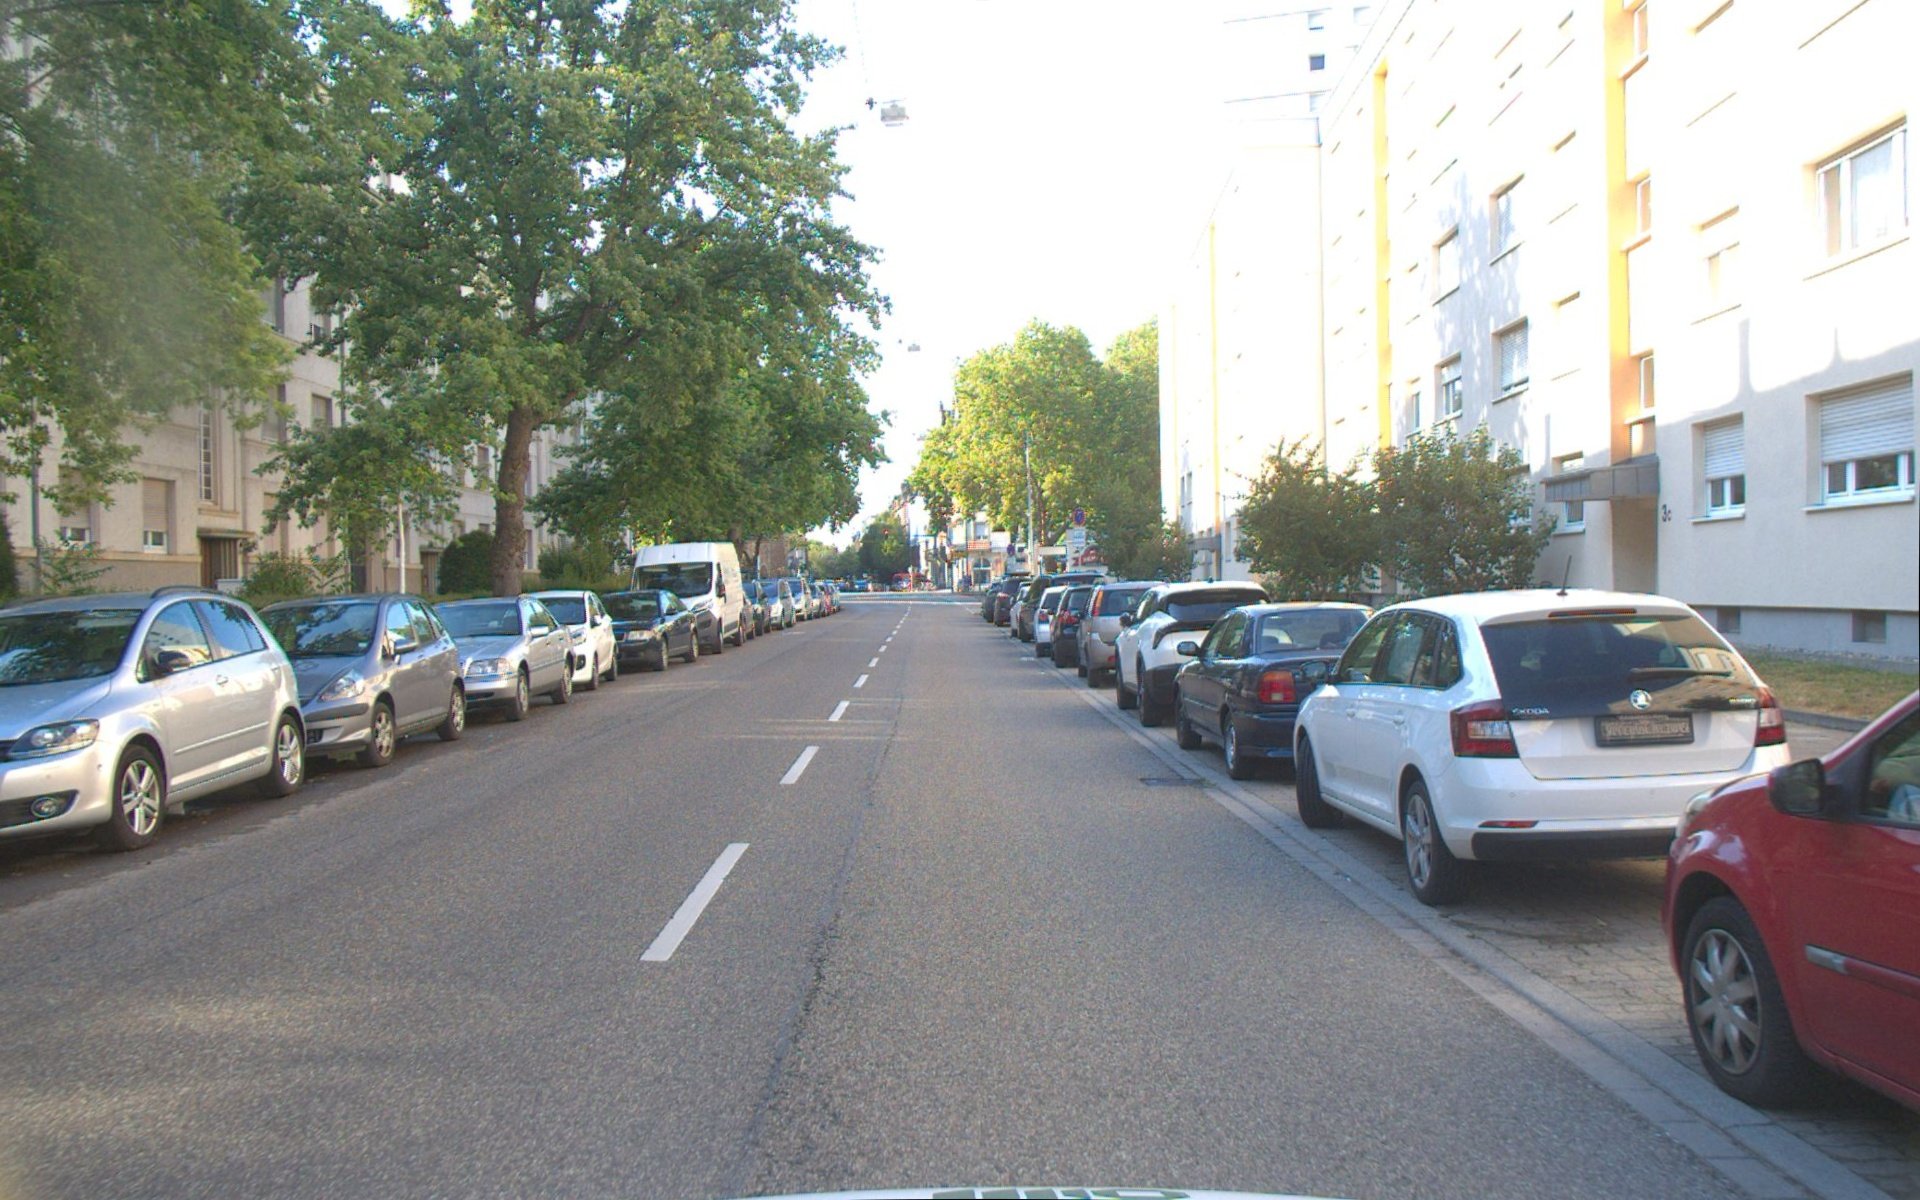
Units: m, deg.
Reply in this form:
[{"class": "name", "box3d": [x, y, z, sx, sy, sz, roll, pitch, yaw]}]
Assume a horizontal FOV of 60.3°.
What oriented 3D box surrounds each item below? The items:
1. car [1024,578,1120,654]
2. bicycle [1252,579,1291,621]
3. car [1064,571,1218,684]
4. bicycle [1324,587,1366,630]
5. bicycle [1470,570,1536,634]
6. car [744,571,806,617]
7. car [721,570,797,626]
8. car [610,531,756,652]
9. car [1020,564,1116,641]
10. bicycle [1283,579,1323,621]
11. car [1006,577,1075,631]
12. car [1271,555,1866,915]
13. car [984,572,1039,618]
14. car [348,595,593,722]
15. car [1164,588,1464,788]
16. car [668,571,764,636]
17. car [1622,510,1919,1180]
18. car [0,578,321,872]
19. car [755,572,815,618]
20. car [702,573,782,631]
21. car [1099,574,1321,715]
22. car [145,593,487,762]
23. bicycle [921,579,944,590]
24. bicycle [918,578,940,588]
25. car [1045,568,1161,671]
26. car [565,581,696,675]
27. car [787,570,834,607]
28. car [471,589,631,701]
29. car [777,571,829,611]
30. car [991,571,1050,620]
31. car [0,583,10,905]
[{"class": "car", "box3d": [2.398, 0.350, 36.257, 1.799, 1.528, 4.172, 1, -1, 0]}, {"class": "bicycle", "box3d": [8.761, -0.005, 46.581, 0.588, 1.100, 2.393, -1, 2, -1]}, {"class": "car", "box3d": [2.805, 0.424, 26.530, 1.922, 1.633, 4.278, 1, -1, -1]}, {"class": "bicycle", "box3d": [10.882, 0.222, 46.823, 0.588, 1.100, 2.393, -1, 2, -1]}, {"class": "bicycle", "box3d": [10.339, 0.035, 31.579, 0.483, 1.132, 2.395, -5, 0, 2]}, {"class": "car", "box3d": [-6.714, -0.210, 60.335, 1.833, 1.585, 4.100, 1, -1, -1]}, {"class": "car", "box3d": [-6.521, -0.106, 54.112, 1.833, 1.585, 5.056, -5, 1, -1]}, {"class": "car", "box3d": [-6.187, -0.154, 37.751, 2.310, 2.488, 6.163, 1, -1, -1]}, {"class": "car", "box3d": [2.639, 0.075, 41.503, 1.983, 1.780, 4.765, 1, -1, -1]}, {"class": "bicycle", "box3d": [9.656, -0.007, 46.598, 0.588, 1.100, 2.393, -1, 2, -1]}, {"class": "car", "box3d": [2.243, 0.132, 47.121, 1.645, 1.440, 4.722, 1, -1, -1]}, {"class": "car", "box3d": [3.056, 0.607, 9.270, 1.736, 1.479, 3.999, -3, 0, -1]}, {"class": "car", "box3d": [1.957, -0.165, 64.466, 1.888, 1.688, 4.676, 1, -1, -1]}, {"class": "car", "box3d": [-5.953, 0.671, 20.705, 1.836, 1.379, 4.651, 1, -1, -3]}, {"class": "car", "box3d": [2.915, 0.674, 14.519, 1.627, 1.463, 4.312, 1, -1, -1]}, {"class": "car", "box3d": [-6.345, 0.101, 43.404, 1.917, 1.585, 4.345, 1, -1, -1]}, {"class": "car", "box3d": [3.225, 0.591, 3.801, 1.735, 1.645, 3.999, -1, -1, -1]}, {"class": "car", "box3d": [-5.840, 0.675, 10.885, 1.836, 1.579, 3.998, 1, -1, -3]}, {"class": "car", "box3d": [-6.867, -0.154, 65.364, 1.877, 1.707, 4.972, 1, -1, -1]}, {"class": "car", "box3d": [-6.369, 0.072, 48.682, 1.833, 1.585, 4.364, 1, -1, -1]}, {"class": "car", "box3d": [2.824, 0.491, 19.559, 1.836, 1.468, 3.998, 1, -1, -3]}, {"class": "car", "box3d": [-5.954, 0.662, 15.835, 1.836, 1.379, 3.998, 1, -1, -3]}, {"class": "bicycle", "box3d": [-3.369, -1.882, 203.069, 2.750, 1.224, 0.509, 1, -1, -8]}, {"class": "bicycle", "box3d": [-3.828, -2.123, 204.739, 2.751, 1.224, 0.516, 1, -1, -9]}, {"class": "car", "box3d": [2.660, 0.361, 31.543, 1.800, 1.803, 3.978, 1, -1, 0]}, {"class": "car", "box3d": [-6.036, 0.500, 30.685, 1.672, 1.601, 3.818, 1, -1, -1]}, {"class": "car", "box3d": [-6.806, -0.489, 75.546, 1.833, 1.585, 3.999, 1, -1, -1]}, {"class": "car", "box3d": [-6.210, 0.668, 25.454, 1.672, 1.601, 3.260, 0, -1, -1]}, {"class": "car", "box3d": [-6.644, -0.352, 70.271, 1.833, 1.585, 4.496, 1, -1, -1]}, {"class": "car", "box3d": [2.153, -0.187, 59.574, 1.859, 1.680, 4.342, 0, 1, -1]}, {"class": "car", "box3d": [-5.684, 0.701, 5.949, 1.963, 1.579, 4.471, -1, -1, 0]}]
